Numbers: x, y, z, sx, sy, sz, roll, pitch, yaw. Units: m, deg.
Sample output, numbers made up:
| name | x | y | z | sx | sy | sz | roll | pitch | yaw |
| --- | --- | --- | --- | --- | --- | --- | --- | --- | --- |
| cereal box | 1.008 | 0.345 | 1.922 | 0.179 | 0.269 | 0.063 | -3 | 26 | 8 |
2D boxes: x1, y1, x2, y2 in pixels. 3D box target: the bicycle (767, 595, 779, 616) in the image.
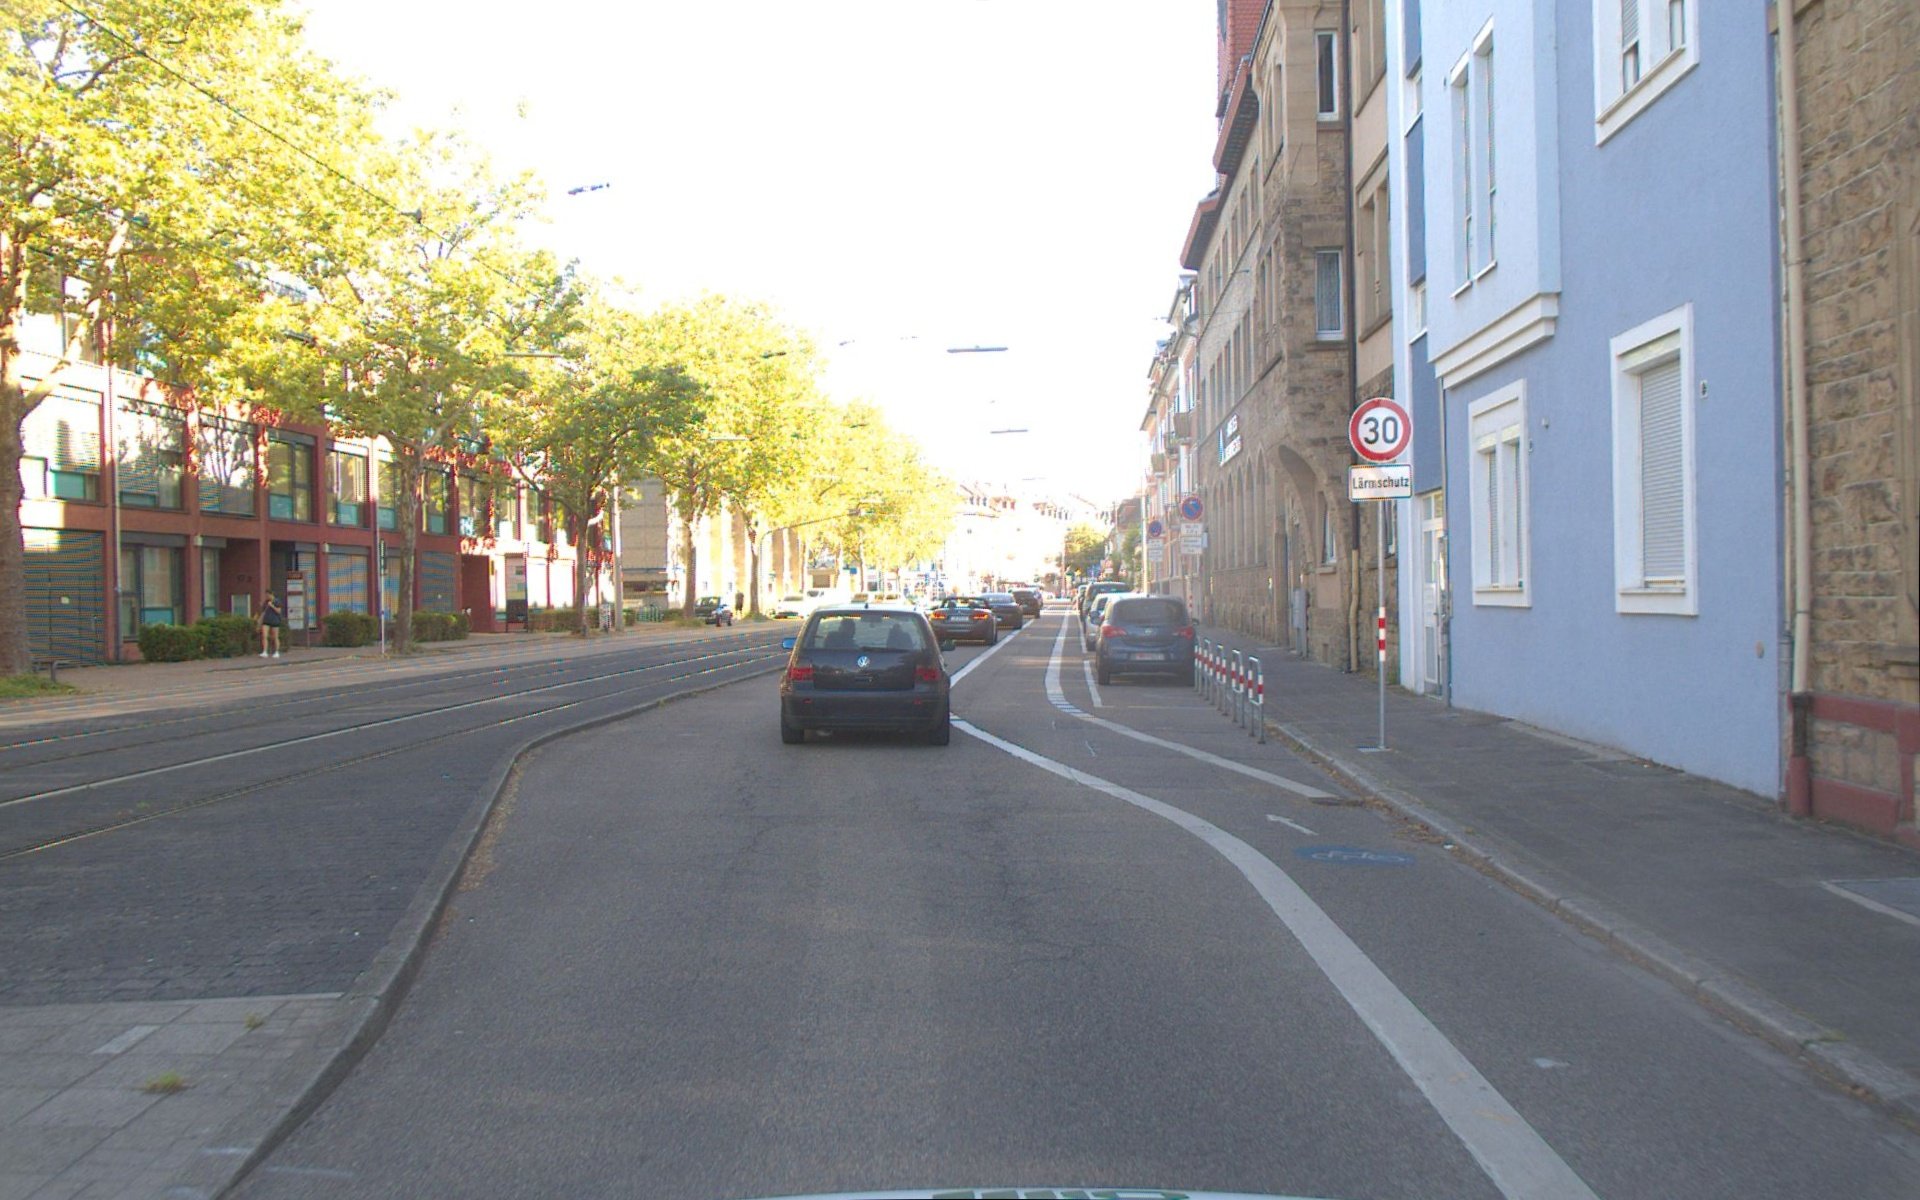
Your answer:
| name | x | y | z | sx | sy | sz | roll | pitch | yaw |
| --- | --- | --- | --- | --- | --- | --- | --- | --- | --- |
| bicycle | -11.532 | 0.317 | 101.980 | 0.569 | 1.230 | 1.653 | 1 | 1 | -2 |

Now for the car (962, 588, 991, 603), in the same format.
| name | x | y | z | sx | sy | sz | roll | pitch | yaw |
| --- | --- | --- | --- | --- | --- | --- | --- | --- | --- |
| car | 2.251 | -0.661 | 227.893 | 3.903 | 2.049 | 2.001 | 1 | 1 | 4 |

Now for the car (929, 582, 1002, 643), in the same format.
| name | x | y | z | sx | sy | sz | roll | pitch | yaw |
| --- | --- | --- | --- | --- | --- | --- | --- | --- | --- |
| car | 0.195 | 0.319 | 46.437 | 1.712 | 1.564 | 3.894 | -1 | 1 | 4 |

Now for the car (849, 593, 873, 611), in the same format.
| name | x | y | z | sx | sy | sz | roll | pitch | yaw |
| --- | --- | --- | --- | --- | --- | --- | --- | --- | --- |
| car | -8.480 | 0.178 | 141.966 | 1.537 | 1.560 | 3.574 | -1 | -1 | 4 |

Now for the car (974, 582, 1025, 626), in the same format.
| name | x | y | z | sx | sy | sz | roll | pitch | yaw |
| --- | --- | --- | --- | --- | --- | --- | --- | --- | --- |
| car | 1.532 | 0.125 | 63.529 | 1.712 | 1.564 | 3.894 | -1 | 1 | 4 |

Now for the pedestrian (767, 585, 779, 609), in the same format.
| name | x | y | z | sx | sy | sz | roll | pitch | yaw |
| --- | --- | --- | --- | --- | --- | --- | --- | --- | --- |
| pedestrian | -14.398 | -0.217 | 127.128 | 0.780 | 1.852 | 0.671 | 1 | 1 | 4 |

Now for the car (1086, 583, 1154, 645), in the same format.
| name | x | y | z | sx | sy | sz | roll | pitch | yaw |
| --- | --- | --- | --- | --- | --- | --- | --- | --- | --- |
| car | 4.204 | 0.332 | 43.956 | 1.678 | 1.527 | 4.228 | 1 | 1 | 4 |

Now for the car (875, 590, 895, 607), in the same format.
| name | x | y | z | sx | sy | sz | roll | pitch | yaw |
| --- | --- | --- | --- | --- | --- | --- | --- | --- | --- |
| car | -7.185 | -0.101 | 158.582 | 1.537 | 1.560 | 3.574 | -1 | -1 | 4 |

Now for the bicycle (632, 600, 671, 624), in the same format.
| name | x | y | z | sx | sy | sz | roll | pitch | yaw |
| --- | --- | --- | --- | --- | --- | --- | --- | --- | --- |
| bicycle | -16.765 | 0.642 | 89.917 | 1.966 | 1.301 | 0.664 | 0 | 1 | 4 |

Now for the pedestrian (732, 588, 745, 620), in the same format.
| name | x | y | z | sx | sy | sz | roll | pitch | yaw |
| --- | --- | --- | --- | --- | --- | --- | --- | --- | --- |
| pedestrian | -13.235 | 0.214 | 98.801 | 0.770 | 1.902 | 0.669 | 0 | 1 | -11 |

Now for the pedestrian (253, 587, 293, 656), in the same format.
| name | x | y | z | sx | sy | sz | roll | pitch | yaw |
| --- | --- | --- | --- | --- | --- | --- | --- | --- | --- |
| pedestrian | -17.712 | 0.543 | 42.635 | 0.612 | 1.748 | 0.901 | 1 | 1 | 3 |

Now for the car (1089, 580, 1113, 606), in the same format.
| name | x | y | z | sx | sy | sz | roll | pitch | yaw |
| --- | --- | --- | --- | --- | --- | --- | --- | --- | --- |
| car | 10.424 | -0.523 | 122.372 | 1.722 | 1.870 | 3.549 | 1 | 1 | 4 |

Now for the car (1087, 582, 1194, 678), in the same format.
| name | x | y | z | sx | sy | sz | roll | pitch | yaw |
| --- | --- | --- | --- | --- | --- | --- | --- | --- | --- |
| car | 3.012 | 0.460 | 28.260 | 1.620 | 1.508 | 4.002 | 0 | 0 | 3 |

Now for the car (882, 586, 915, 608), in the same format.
| name | x | y | z | sx | sy | sz | roll | pitch | yaw |
| --- | --- | --- | --- | --- | --- | --- | --- | --- | --- |
| car | -4.673 | -0.227 | 126.683 | 1.715 | 1.544 | 4.075 | -3 | 0 | 9 |

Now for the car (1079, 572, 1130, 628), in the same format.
| name | x | y | z | sx | sy | sz | roll | pitch | yaw |
| --- | --- | --- | --- | --- | --- | --- | --- | --- | --- |
| car | 5.140 | -0.021 | 59.150 | 1.716 | 1.888 | 4.818 | 0 | 0 | 4 |

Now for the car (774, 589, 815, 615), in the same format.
| name | x | y | z | sx | sy | sz | roll | pitch | yaw |
| --- | --- | --- | --- | --- | --- | --- | --- | --- | --- |
| car | -10.739 | 0.108 | 107.524 | 1.970 | 1.600 | 4.695 | 1 | 1 | 2 |

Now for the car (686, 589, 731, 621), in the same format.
| name | x | y | z | sx | sy | sz | roll | pitch | yaw |
| --- | --- | --- | --- | --- | --- | --- | --- | --- | --- |
| car | -12.634 | 0.276 | 83.238 | 1.475 | 1.479 | 3.464 | -1 | -2 | 5 |

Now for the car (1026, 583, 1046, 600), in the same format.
| name | x | y | z | sx | sy | sz | roll | pitch | yaw |
| --- | --- | --- | --- | --- | --- | --- | --- | --- | --- |
| car | 6.626 | -0.741 | 144.026 | 1.601 | 1.498 | 3.731 | -1 | 0 | 4 |

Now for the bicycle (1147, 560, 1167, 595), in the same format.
| name | x | y | z | sx | sy | sz | roll | pitch | yaw |
| --- | --- | --- | --- | --- | --- | --- | --- | --- | --- |
| bicycle | 6.753 | -0.784 | 56.660 | 0.504 | 1.159 | 2.260 | -3 | 1 | 3 |

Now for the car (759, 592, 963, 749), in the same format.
| name | x | y | z | sx | sy | sz | roll | pitch | yaw |
| --- | --- | --- | --- | --- | --- | --- | --- | --- | --- |
| car | -0.922 | 0.655 | 17.494 | 1.712 | 1.399 | 4.002 | -1 | 1 | 3 |

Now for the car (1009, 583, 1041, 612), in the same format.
| name | x | y | z | sx | sy | sz | roll | pitch | yaw |
| --- | --- | --- | --- | --- | --- | --- | --- | --- | --- |
| car | 3.485 | -0.128 | 88.380 | 1.601 | 1.498 | 3.731 | -1 | 0 | 4 |

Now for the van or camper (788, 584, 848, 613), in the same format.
| name | x | y | z | sx | sy | sz | roll | pitch | yaw |
| --- | --- | --- | --- | --- | --- | --- | --- | --- | --- |
| van or camper | -10.107 | -0.128 | 117.861 | 2.019 | 1.983 | 5.187 | 1 | 1 | 24 |

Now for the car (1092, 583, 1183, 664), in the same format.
| name | x | y | z | sx | sy | sz | roll | pitch | yaw |
| --- | --- | --- | --- | --- | --- | --- | --- | --- | --- |
| car | 3.598 | 0.436 | 33.778 | 1.716 | 1.527 | 4.199 | 1 | 1 | 5 |

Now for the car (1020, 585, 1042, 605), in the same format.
| name | x | y | z | sx | sy | sz | roll | pitch | yaw |
| --- | --- | --- | --- | --- | --- | --- | --- | --- | --- |
| car | 5.597 | -0.386 | 130.087 | 1.601 | 1.498 | 3.731 | -1 | 0 | 4 |
